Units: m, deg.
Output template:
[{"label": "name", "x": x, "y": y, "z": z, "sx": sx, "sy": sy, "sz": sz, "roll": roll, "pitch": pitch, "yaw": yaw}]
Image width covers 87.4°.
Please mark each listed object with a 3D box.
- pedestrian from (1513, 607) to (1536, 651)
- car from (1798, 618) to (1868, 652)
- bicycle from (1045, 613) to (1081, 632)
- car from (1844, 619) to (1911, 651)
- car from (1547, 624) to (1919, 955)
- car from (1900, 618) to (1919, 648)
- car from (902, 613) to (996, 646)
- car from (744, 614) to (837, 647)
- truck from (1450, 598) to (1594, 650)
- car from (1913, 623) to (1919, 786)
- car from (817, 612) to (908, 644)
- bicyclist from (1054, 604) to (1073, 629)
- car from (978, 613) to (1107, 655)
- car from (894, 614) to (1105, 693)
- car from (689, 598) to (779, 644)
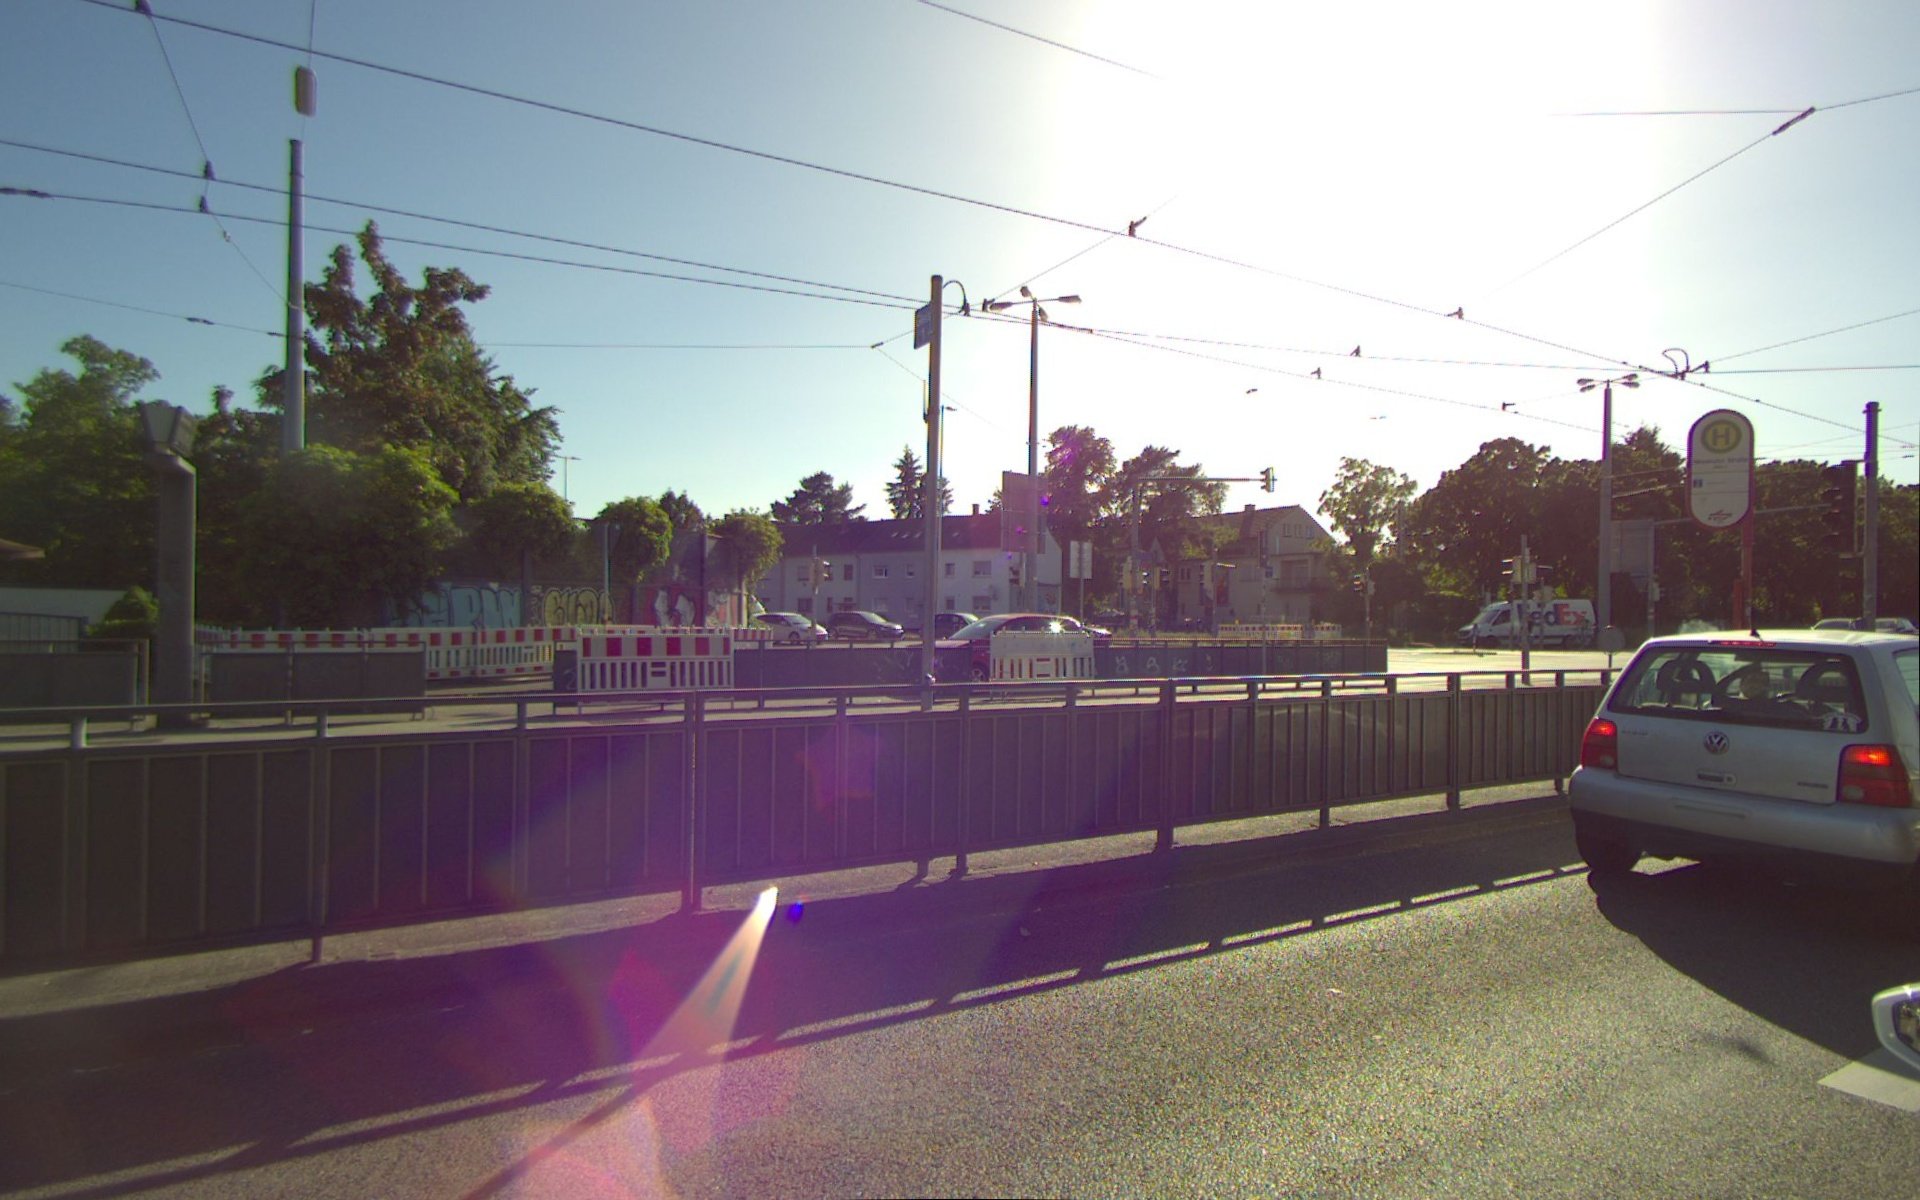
[{"label": "pedestrian", "x": 26.851, "y": 1.370, "z": 47.763, "sx": 0.785, "sy": 2.040, "sz": 0.741, "roll": 1, "pitch": -1, "yaw": -42}, {"label": "car", "x": 42.437, "y": 1.673, "z": 48.794, "sx": 3.963, "sy": 1.568, "sz": 1.819, "roll": 1, "pitch": -1, "yaw": -37}, {"label": "bicycle", "x": 6.911, "y": 1.504, "z": 67.661, "sx": 2.370, "sy": 1.279, "sz": 0.813, "roll": 0, "pitch": -1, "yaw": 43}, {"label": "car", "x": 47.321, "y": 1.799, "z": 51.783, "sx": 4.245, "sy": 1.568, "sz": 1.819, "roll": 1, "pitch": -1, "yaw": -37}, {"label": "car", "x": 5.208, "y": 0.888, "z": 5.956, "sx": 3.312, "sy": 1.436, "sz": 1.611, "roll": 2, "pitch": -2, "yaw": -31}, {"label": "car", "x": 54.279, "y": 1.820, "z": 56.049, "sx": 4.712, "sy": 1.626, "sz": 1.978, "roll": 1, "pitch": 1, "yaw": -38}, {"label": "car", "x": -0.519, "y": 1.326, "z": 45.805, "sx": 4.104, "sy": 1.451, "sz": 1.589, "roll": 0, "pitch": -1, "yaw": 34}, {"label": "car", "x": -7.867, "y": 1.383, "z": 46.598, "sx": 4.104, "sy": 1.451, "sz": 1.846, "roll": 0, "pitch": -1, "yaw": 34}, {"label": "truck", "x": 29.595, "y": 1.275, "z": 52.978, "sx": 6.694, "sy": 2.599, "sz": 1.998, "roll": 1, "pitch": -1, "yaw": -6}, {"label": "car", "x": 10.780, "y": 1.003, "z": 9.443, "sx": 4.038, "sy": 1.476, "sz": 1.611, "roll": 2, "pitch": 0, "yaw": -31}, {"label": "car", "x": -4.760, "y": 1.336, "z": 48.889, "sx": 4.212, "sy": 1.451, "sz": 1.788, "roll": 0, "pitch": -1, "yaw": 34}, {"label": "bicyclist", "x": 6.972, "y": 1.092, "z": 67.608, "sx": 0.995, "sy": 1.669, "sz": 0.813, "roll": 0, "pitch": -1, "yaw": 42}, {"label": "car", "x": 3.180, "y": 1.290, "z": 39.204, "sx": 4.754, "sy": 1.517, "sz": 1.781, "roll": 0, "pitch": -1, "yaw": 34}, {"label": "car", "x": 0.823, "y": 1.009, "z": 19.782, "sx": 3.972, "sy": 1.421, "sz": 1.595, "roll": 1, "pitch": -1, "yaw": -32}, {"label": "car", "x": -12.726, "y": 1.155, "z": 56.444, "sx": 4.995, "sy": 2.434, "sz": 2.132, "roll": 0, "pitch": -1, "yaw": 34}]
